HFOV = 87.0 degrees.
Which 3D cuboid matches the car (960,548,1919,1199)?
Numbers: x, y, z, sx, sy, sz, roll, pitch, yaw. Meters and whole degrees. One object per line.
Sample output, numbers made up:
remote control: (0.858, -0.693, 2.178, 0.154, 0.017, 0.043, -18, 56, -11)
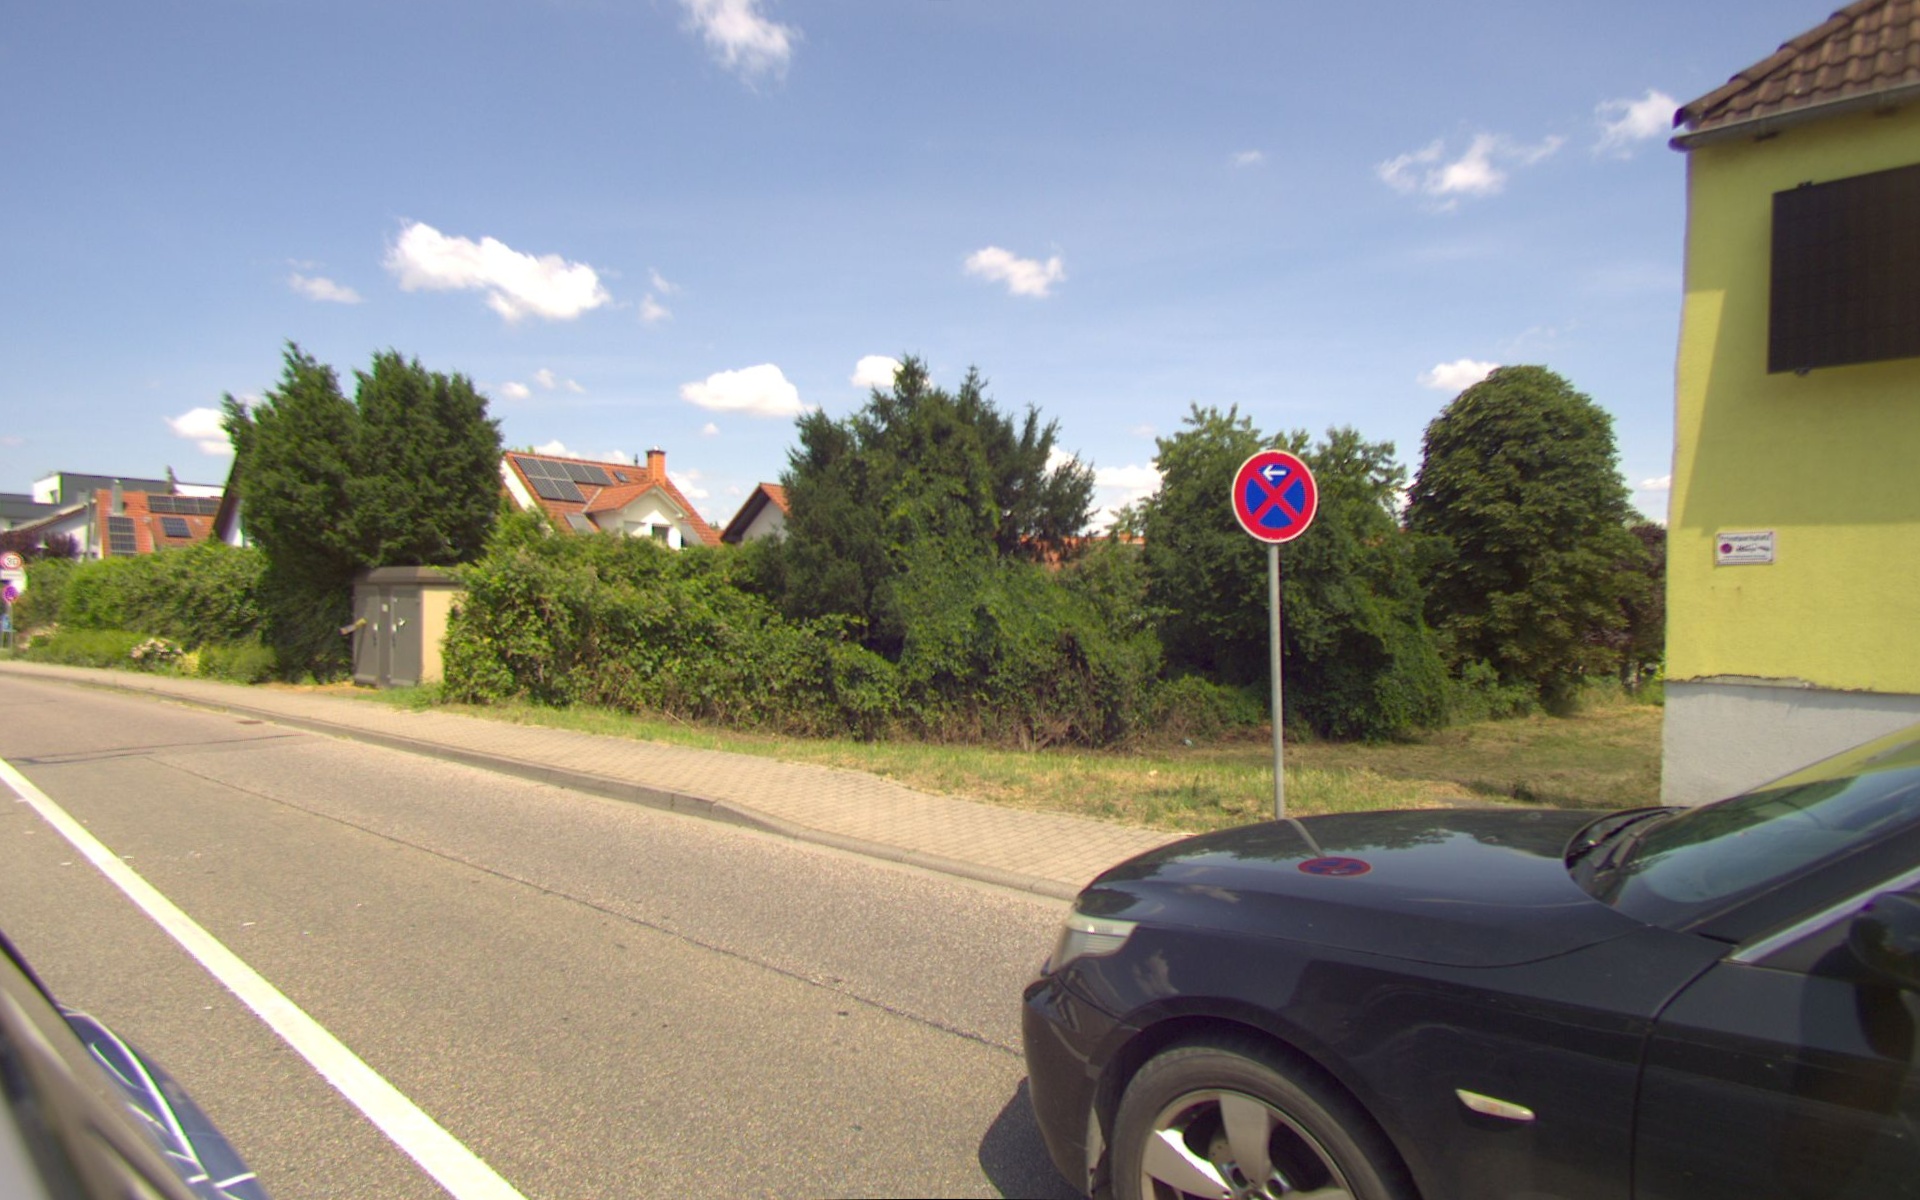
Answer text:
car: (2.337, 0.682, 1.428, 4.670, 1.453, 1.843, -1, -3, 43)
